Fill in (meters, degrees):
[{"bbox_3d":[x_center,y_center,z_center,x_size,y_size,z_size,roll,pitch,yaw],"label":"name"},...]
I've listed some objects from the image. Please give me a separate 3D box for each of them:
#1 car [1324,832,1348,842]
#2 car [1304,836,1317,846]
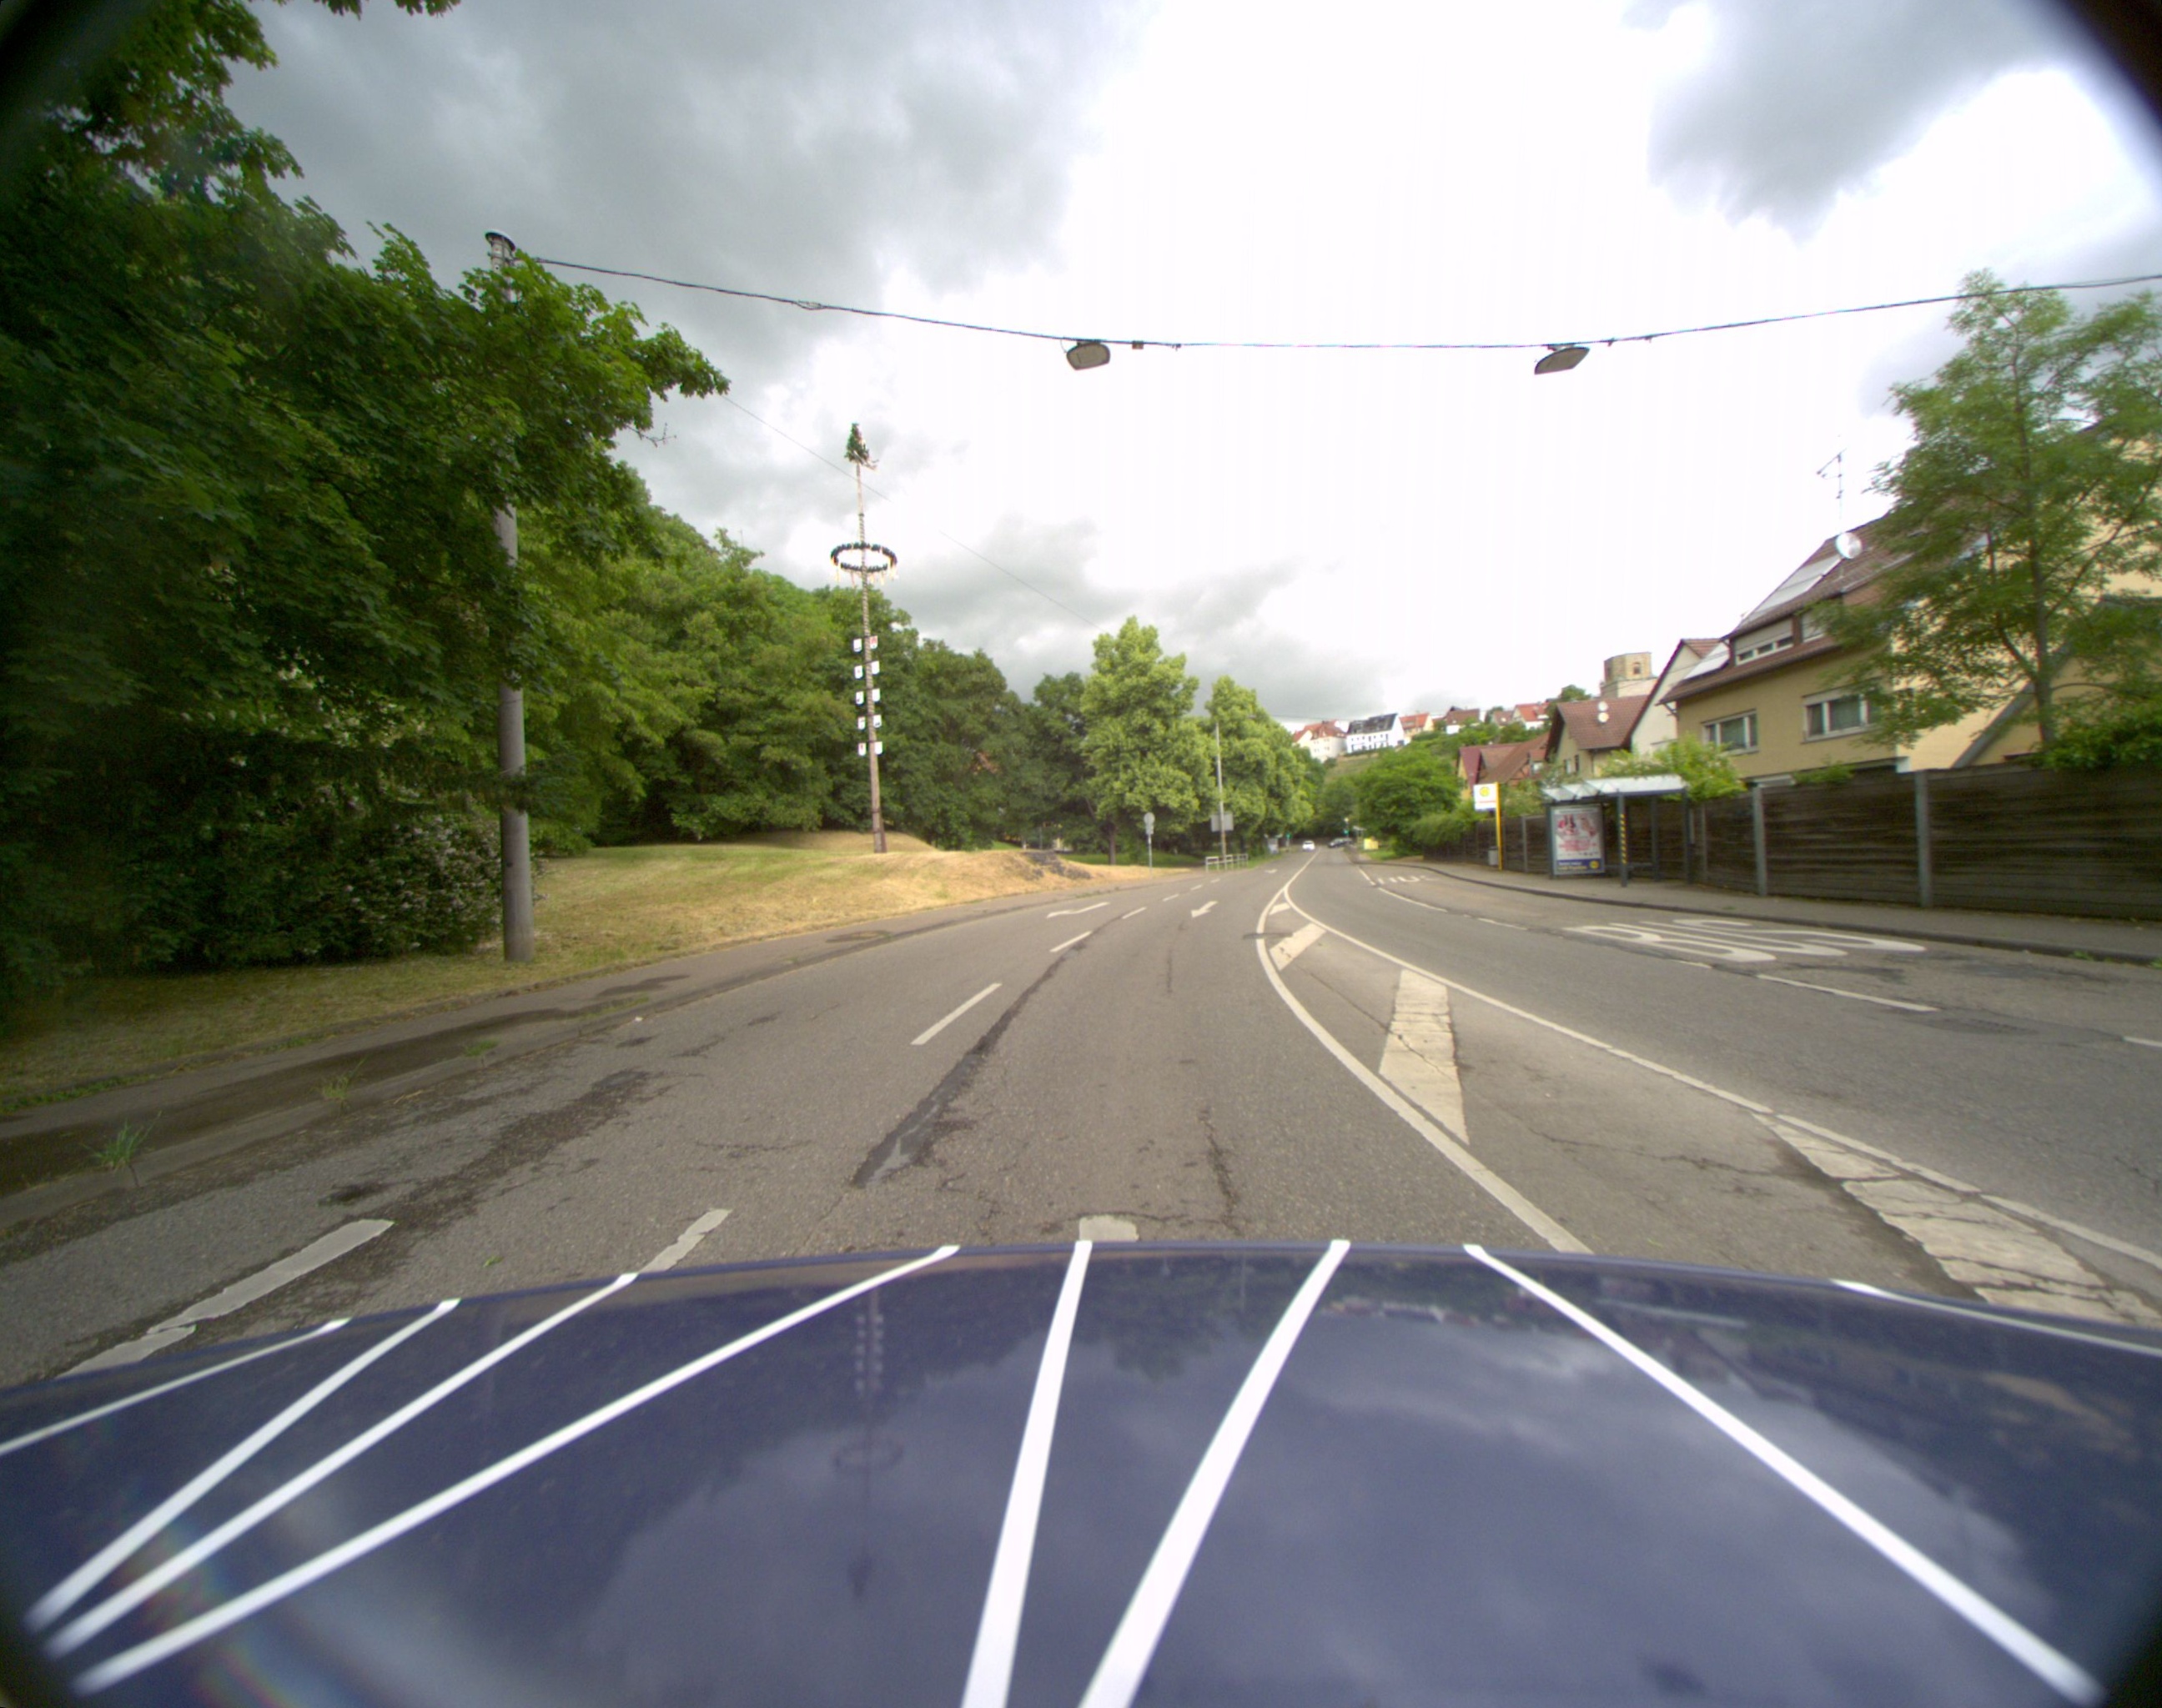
[{"bbox_3d":[42.265,-2.804,125.797,3.689,1.575,1.761,-3,1,-33],"label":"car"},{"bbox_3d":[35.465,-2.021,117.316,1.761,1.516,3.687,-2,1,17],"label":"car"}]
